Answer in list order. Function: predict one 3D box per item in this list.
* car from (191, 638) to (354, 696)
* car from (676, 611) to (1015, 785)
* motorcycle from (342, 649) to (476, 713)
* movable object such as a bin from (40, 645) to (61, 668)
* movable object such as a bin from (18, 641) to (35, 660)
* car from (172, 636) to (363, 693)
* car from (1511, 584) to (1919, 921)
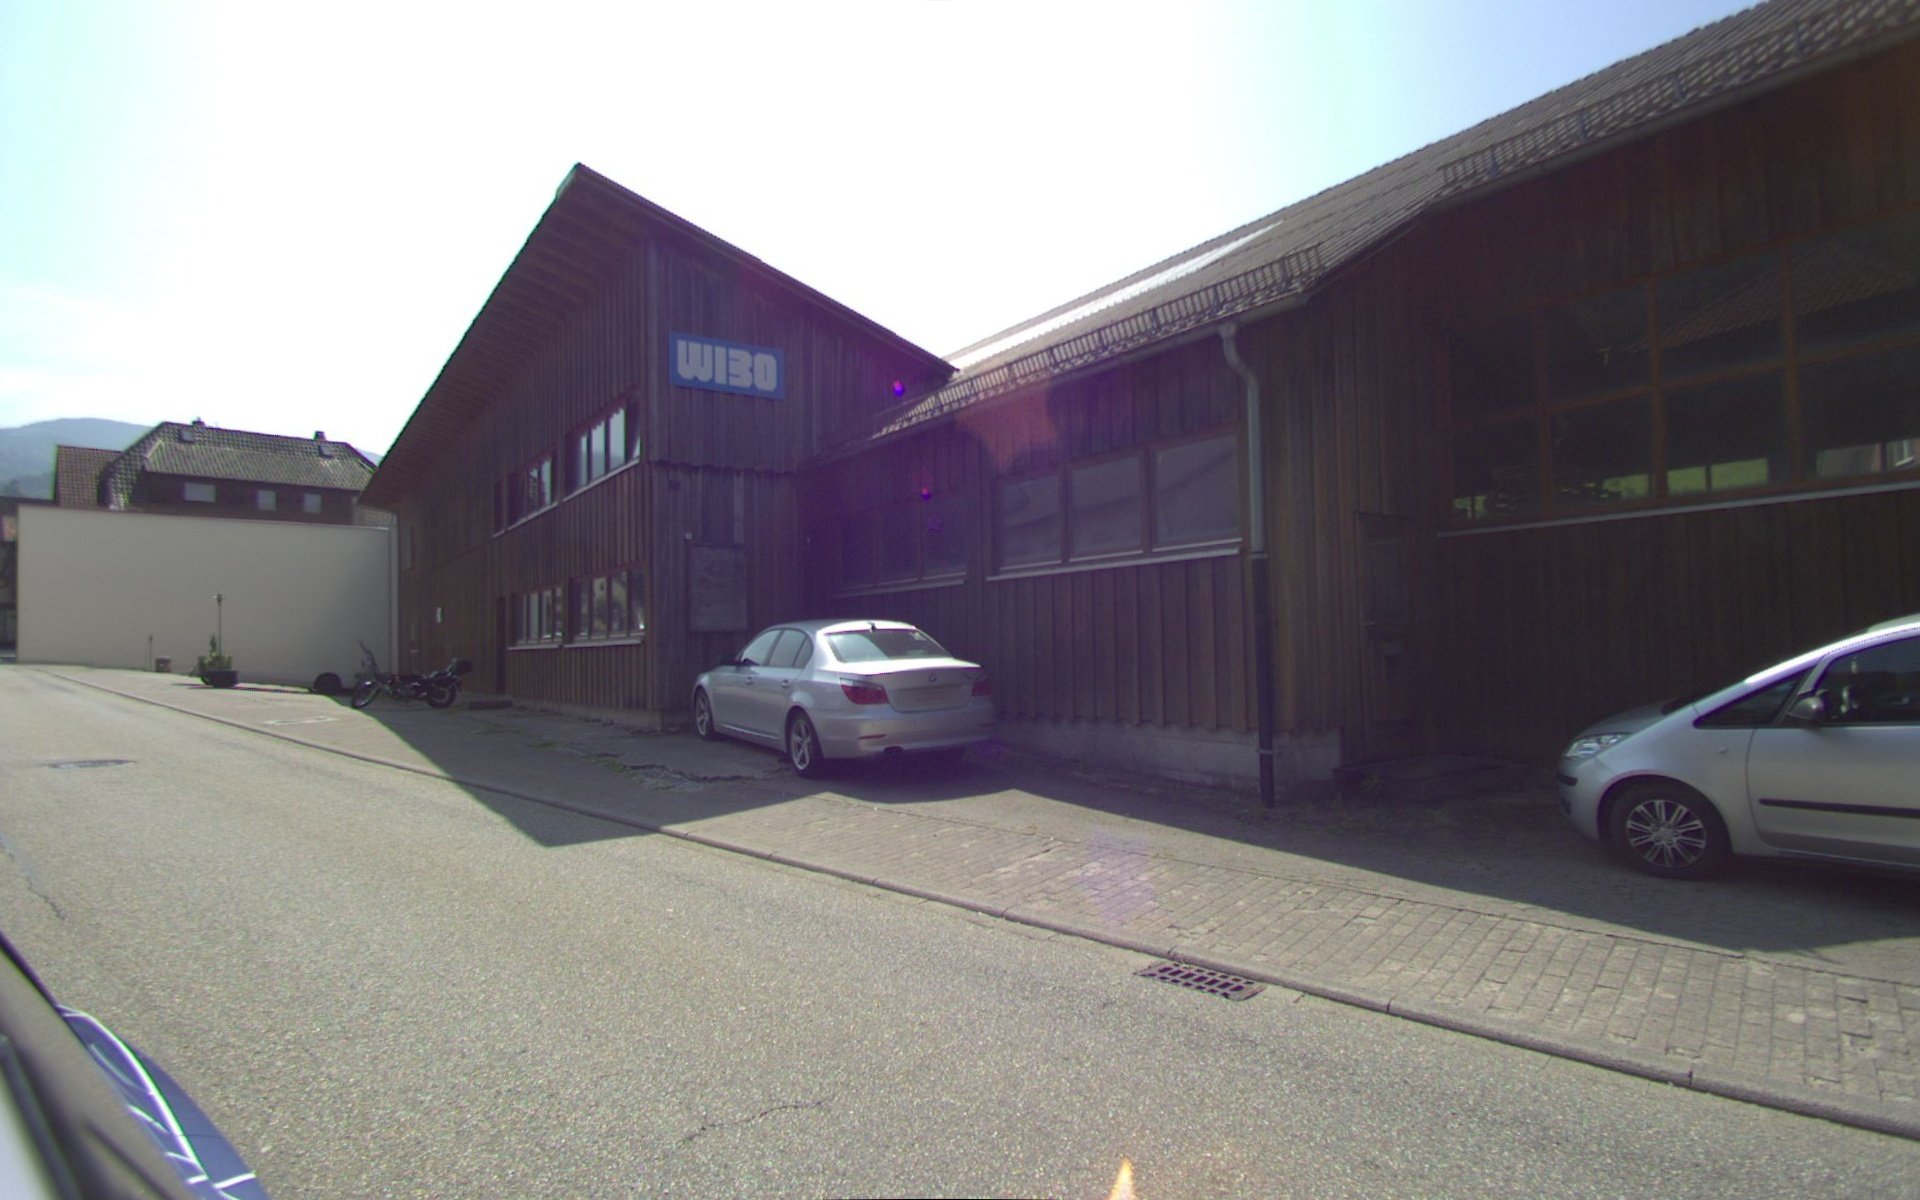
[{"bbox_3d":[-19.217,1.900,28.490,3.609,1.396,1.716,6,-5,-31],"label":"car"},{"bbox_3d":[-1.518,0.940,11.027,1.705,1.465,4.817,0,-3,-33],"label":"car"},{"bbox_3d":[-11.564,1.670,21.294,2.377,1.274,0.745,2,-3,-37],"label":"motorcycle"},{"bbox_3d":[-44.081,2.739,49.041,0.621,1.075,0.668,-2,-3,42],"label":"movable object such as a bin"},{"bbox_3d":[-58.427,3.165,63.364,0.598,1.190,0.709,-3,-5,44],"label":"movable object such as a bin"},{"bbox_3d":[-20.932,1.984,30.819,4.367,1.486,1.930,4,-5,-21],"label":"car"},{"bbox_3d":[5.313,0.717,5.201,1.560,1.582,4.033,-3,0,-35],"label":"car"}]
